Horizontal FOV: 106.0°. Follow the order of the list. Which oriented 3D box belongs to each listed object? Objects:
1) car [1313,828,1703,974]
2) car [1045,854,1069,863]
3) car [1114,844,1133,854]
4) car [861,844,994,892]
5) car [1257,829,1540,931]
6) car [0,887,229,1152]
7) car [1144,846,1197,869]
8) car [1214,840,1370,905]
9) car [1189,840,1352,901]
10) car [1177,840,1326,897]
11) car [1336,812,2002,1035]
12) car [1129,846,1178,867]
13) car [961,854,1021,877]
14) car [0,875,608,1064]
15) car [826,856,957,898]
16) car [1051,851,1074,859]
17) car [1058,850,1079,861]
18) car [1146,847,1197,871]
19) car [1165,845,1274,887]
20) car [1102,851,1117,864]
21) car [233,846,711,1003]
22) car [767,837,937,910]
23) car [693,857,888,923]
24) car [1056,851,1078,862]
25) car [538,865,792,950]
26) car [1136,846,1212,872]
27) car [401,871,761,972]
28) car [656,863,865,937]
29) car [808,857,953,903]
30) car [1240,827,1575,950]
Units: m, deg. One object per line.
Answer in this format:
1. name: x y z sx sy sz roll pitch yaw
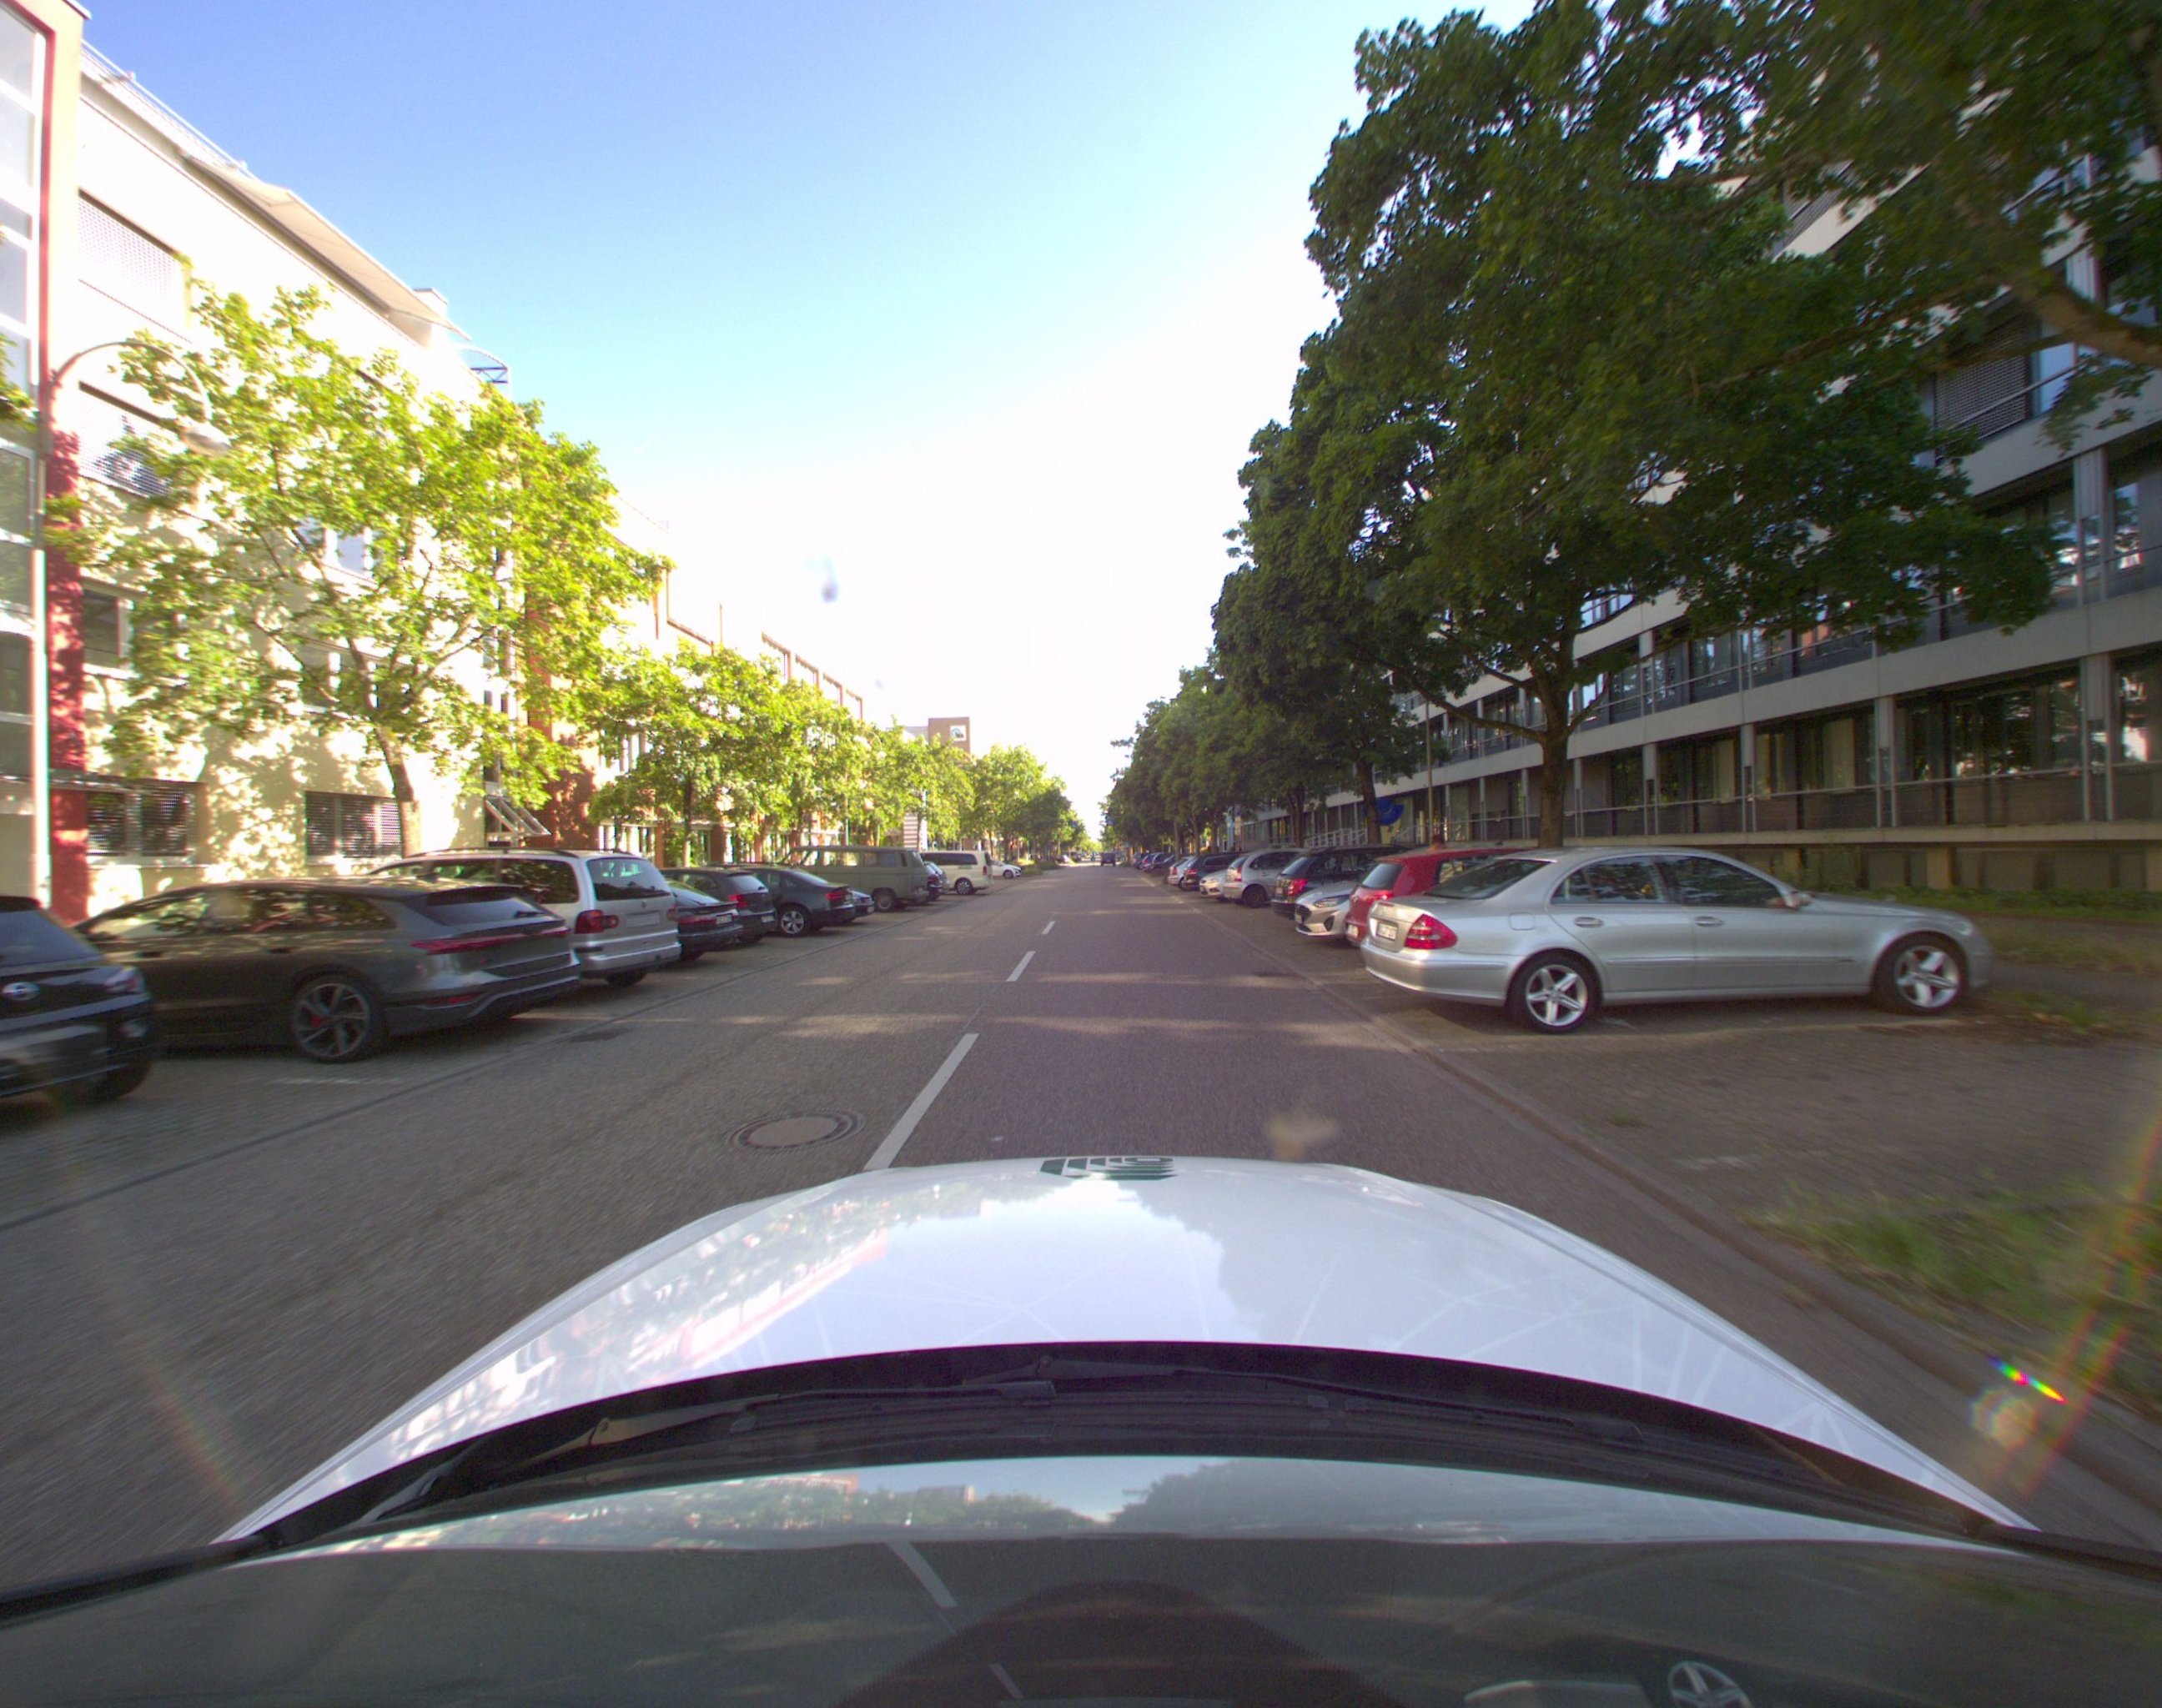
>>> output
1. car: 5.059 0.542 10.163 3.819 1.447 1.925 -3 0 5
2. car: -3.909 0.664 131.847 3.839 1.473 1.811 0 0 -3
3. car: 9.365 -1.063 180.714 3.975 2.013 1.999 -2 0 -1
4. car: -6.425 0.578 34.553 5.239 1.967 1.943 0 0 1
5. car: 5.733 0.460 15.203 4.495 1.542 1.924 -3 0 3
6. car: -7.903 0.954 4.879 3.713 1.427 1.773 0 0 0
7. car: 6.895 0.290 62.870 3.933 1.514 1.814 -3 0 2
8. car: 5.662 0.486 22.080 3.733 1.493 1.616 -3 0 -2
9. car: 5.584 0.482 24.333 4.277 1.493 2.001 -3 0 -4
10. car: 5.631 0.470 27.324 4.575 1.493 1.763 -4 0 1
11. car: 4.843 0.551 7.237 4.560 1.475 1.748 -4 0 2
12. car: 6.841 0.207 77.068 4.339 1.704 1.811 -3 0 -2
13. car: -6.246 0.785 56.961 3.974 1.486 1.807 -1 0 0
14. car: -6.975 0.928 7.309 4.389 1.427 1.772 0 0 -1
15. car: -6.927 0.829 30.019 4.302 1.477 1.945 0 0 3
16. car: -3.128 0.183 137.685 3.842 1.473 1.810 0 0 -5
17. car: -2.472 0.258 162.147 3.967 2.013 2.003 -2 0 5
18. car: 6.647 0.363 60.350 3.625 1.514 1.814 -3 0 3
19. car: 5.468 0.465 32.476 3.957 1.420 1.710 -3 0 -1
20. car: 3.810 0.487 110.970 1.986 1.640 4.001 0 0 1
21. car: -7.101 0.767 9.877 4.306 1.717 1.963 0 0 0
22. car: -6.820 0.555 24.606 4.469 2.090 2.085 0 0 3
23. car: -7.006 0.848 19.914 4.117 1.528 1.726 0 0 1
24. car: -2.752 0.469 158.992 3.967 2.013 2.003 -2 0 5
25. car: -7.436 0.923 14.830 3.713 1.427 1.725 0 0 0
26. car: 6.176 0.349 54.418 4.810 1.420 2.031 -3 0 -1
27. car: -7.326 0.958 12.252 4.306 1.358 1.757 0 0 0
28. car: -6.605 0.917 17.104 3.719 1.427 1.722 0 0 -5
29. car: -6.653 0.847 27.290 4.302 1.477 1.945 0 0 3
30. car: 4.904 0.514 12.823 4.493 1.542 1.925 -3 0 5
